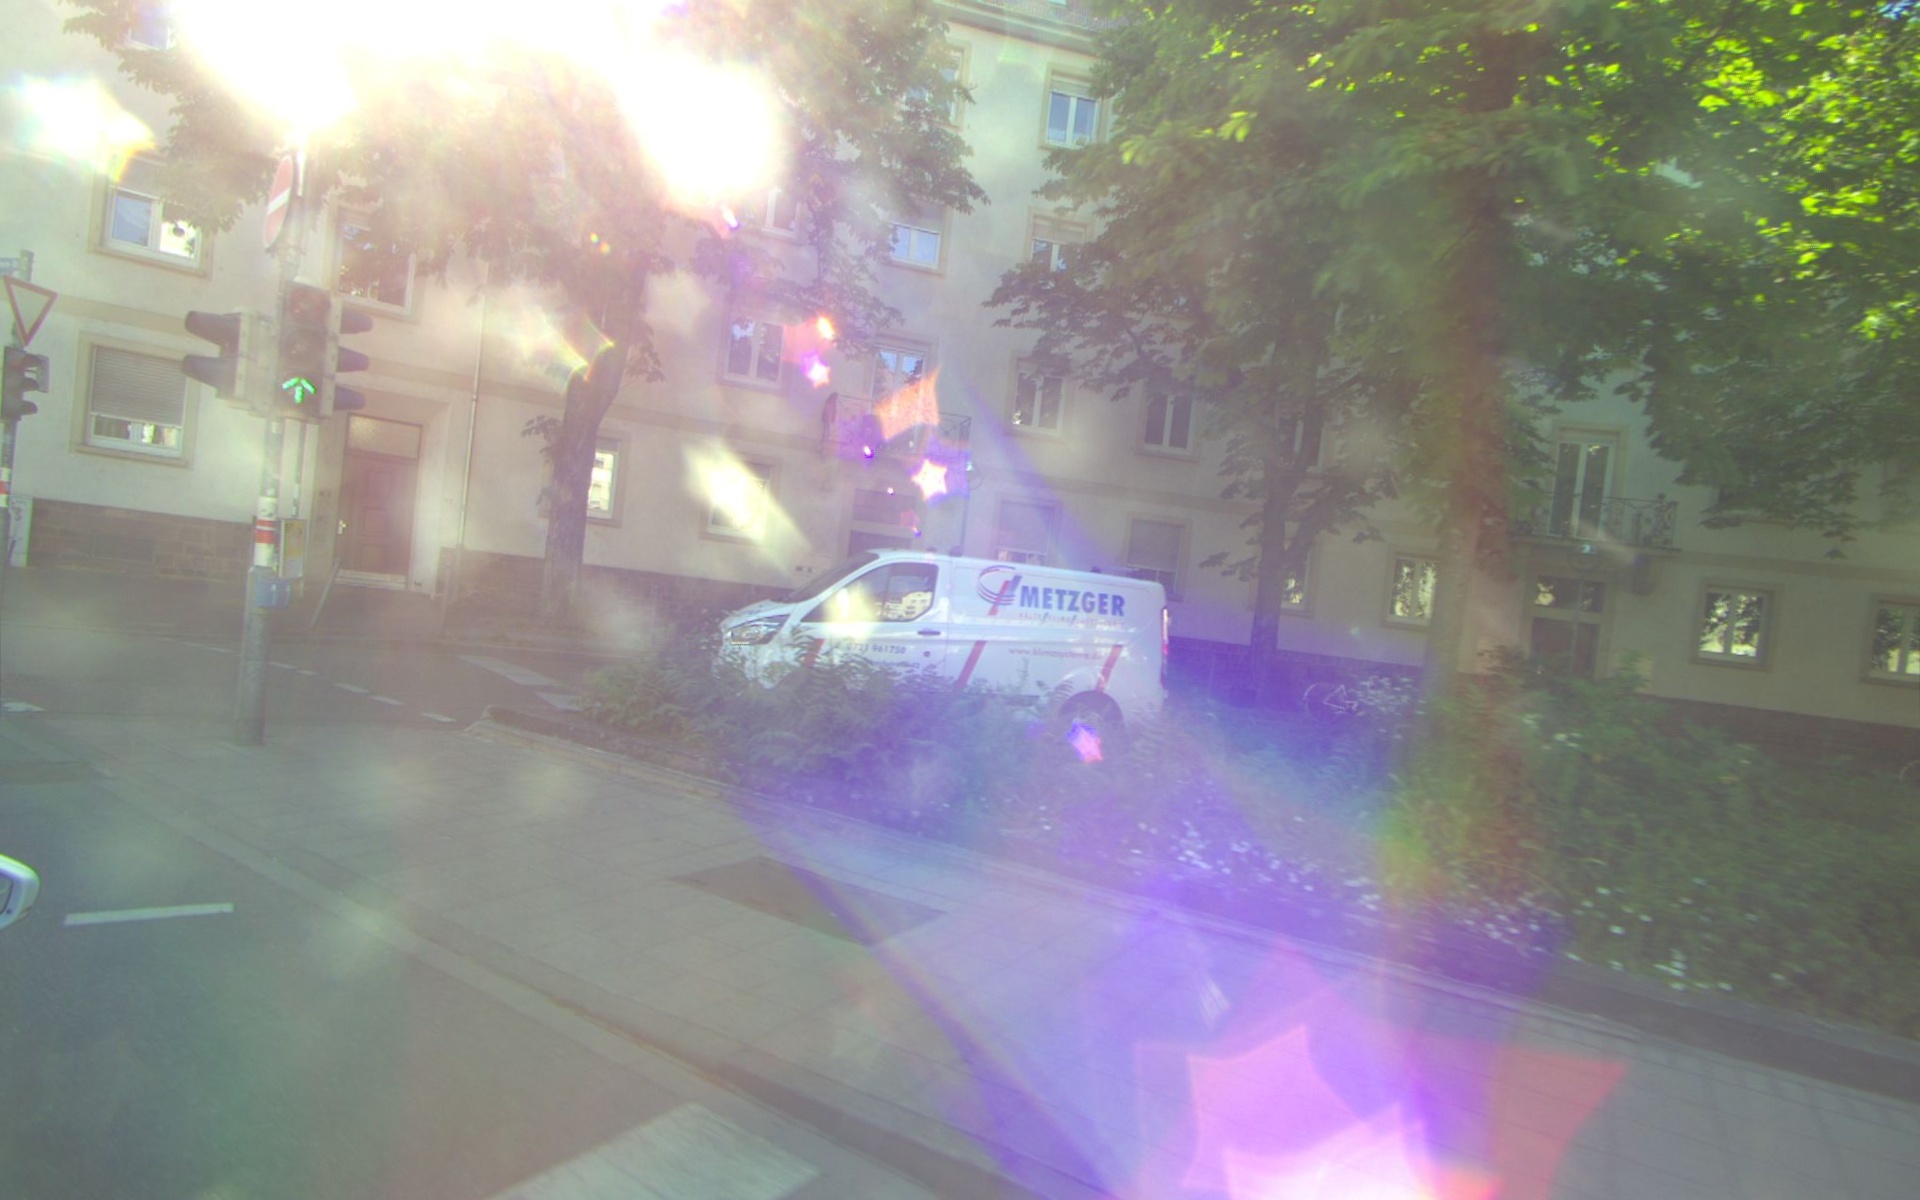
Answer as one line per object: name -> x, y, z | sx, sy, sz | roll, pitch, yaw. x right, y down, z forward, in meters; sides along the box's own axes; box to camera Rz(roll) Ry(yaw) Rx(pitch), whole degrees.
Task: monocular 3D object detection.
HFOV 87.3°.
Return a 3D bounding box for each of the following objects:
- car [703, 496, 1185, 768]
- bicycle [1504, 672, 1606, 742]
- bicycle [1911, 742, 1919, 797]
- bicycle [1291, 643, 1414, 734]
car -> -0.214, 0.387, 10.786 | 4.684, 2.117, 1.683 | 8, -1, -14
bicycle -> 11.349, 2.039, 19.206 | 1.537, 1.131, 0.461 | 6, 3, -1
bicycle -> 15.990, 2.580, 15.733 | 1.460, 1.297, 0.427 | 8, 3, 14
bicycle -> 6.778, 1.522, 17.403 | 1.798, 1.297, 0.427 | 7, 3, -1
